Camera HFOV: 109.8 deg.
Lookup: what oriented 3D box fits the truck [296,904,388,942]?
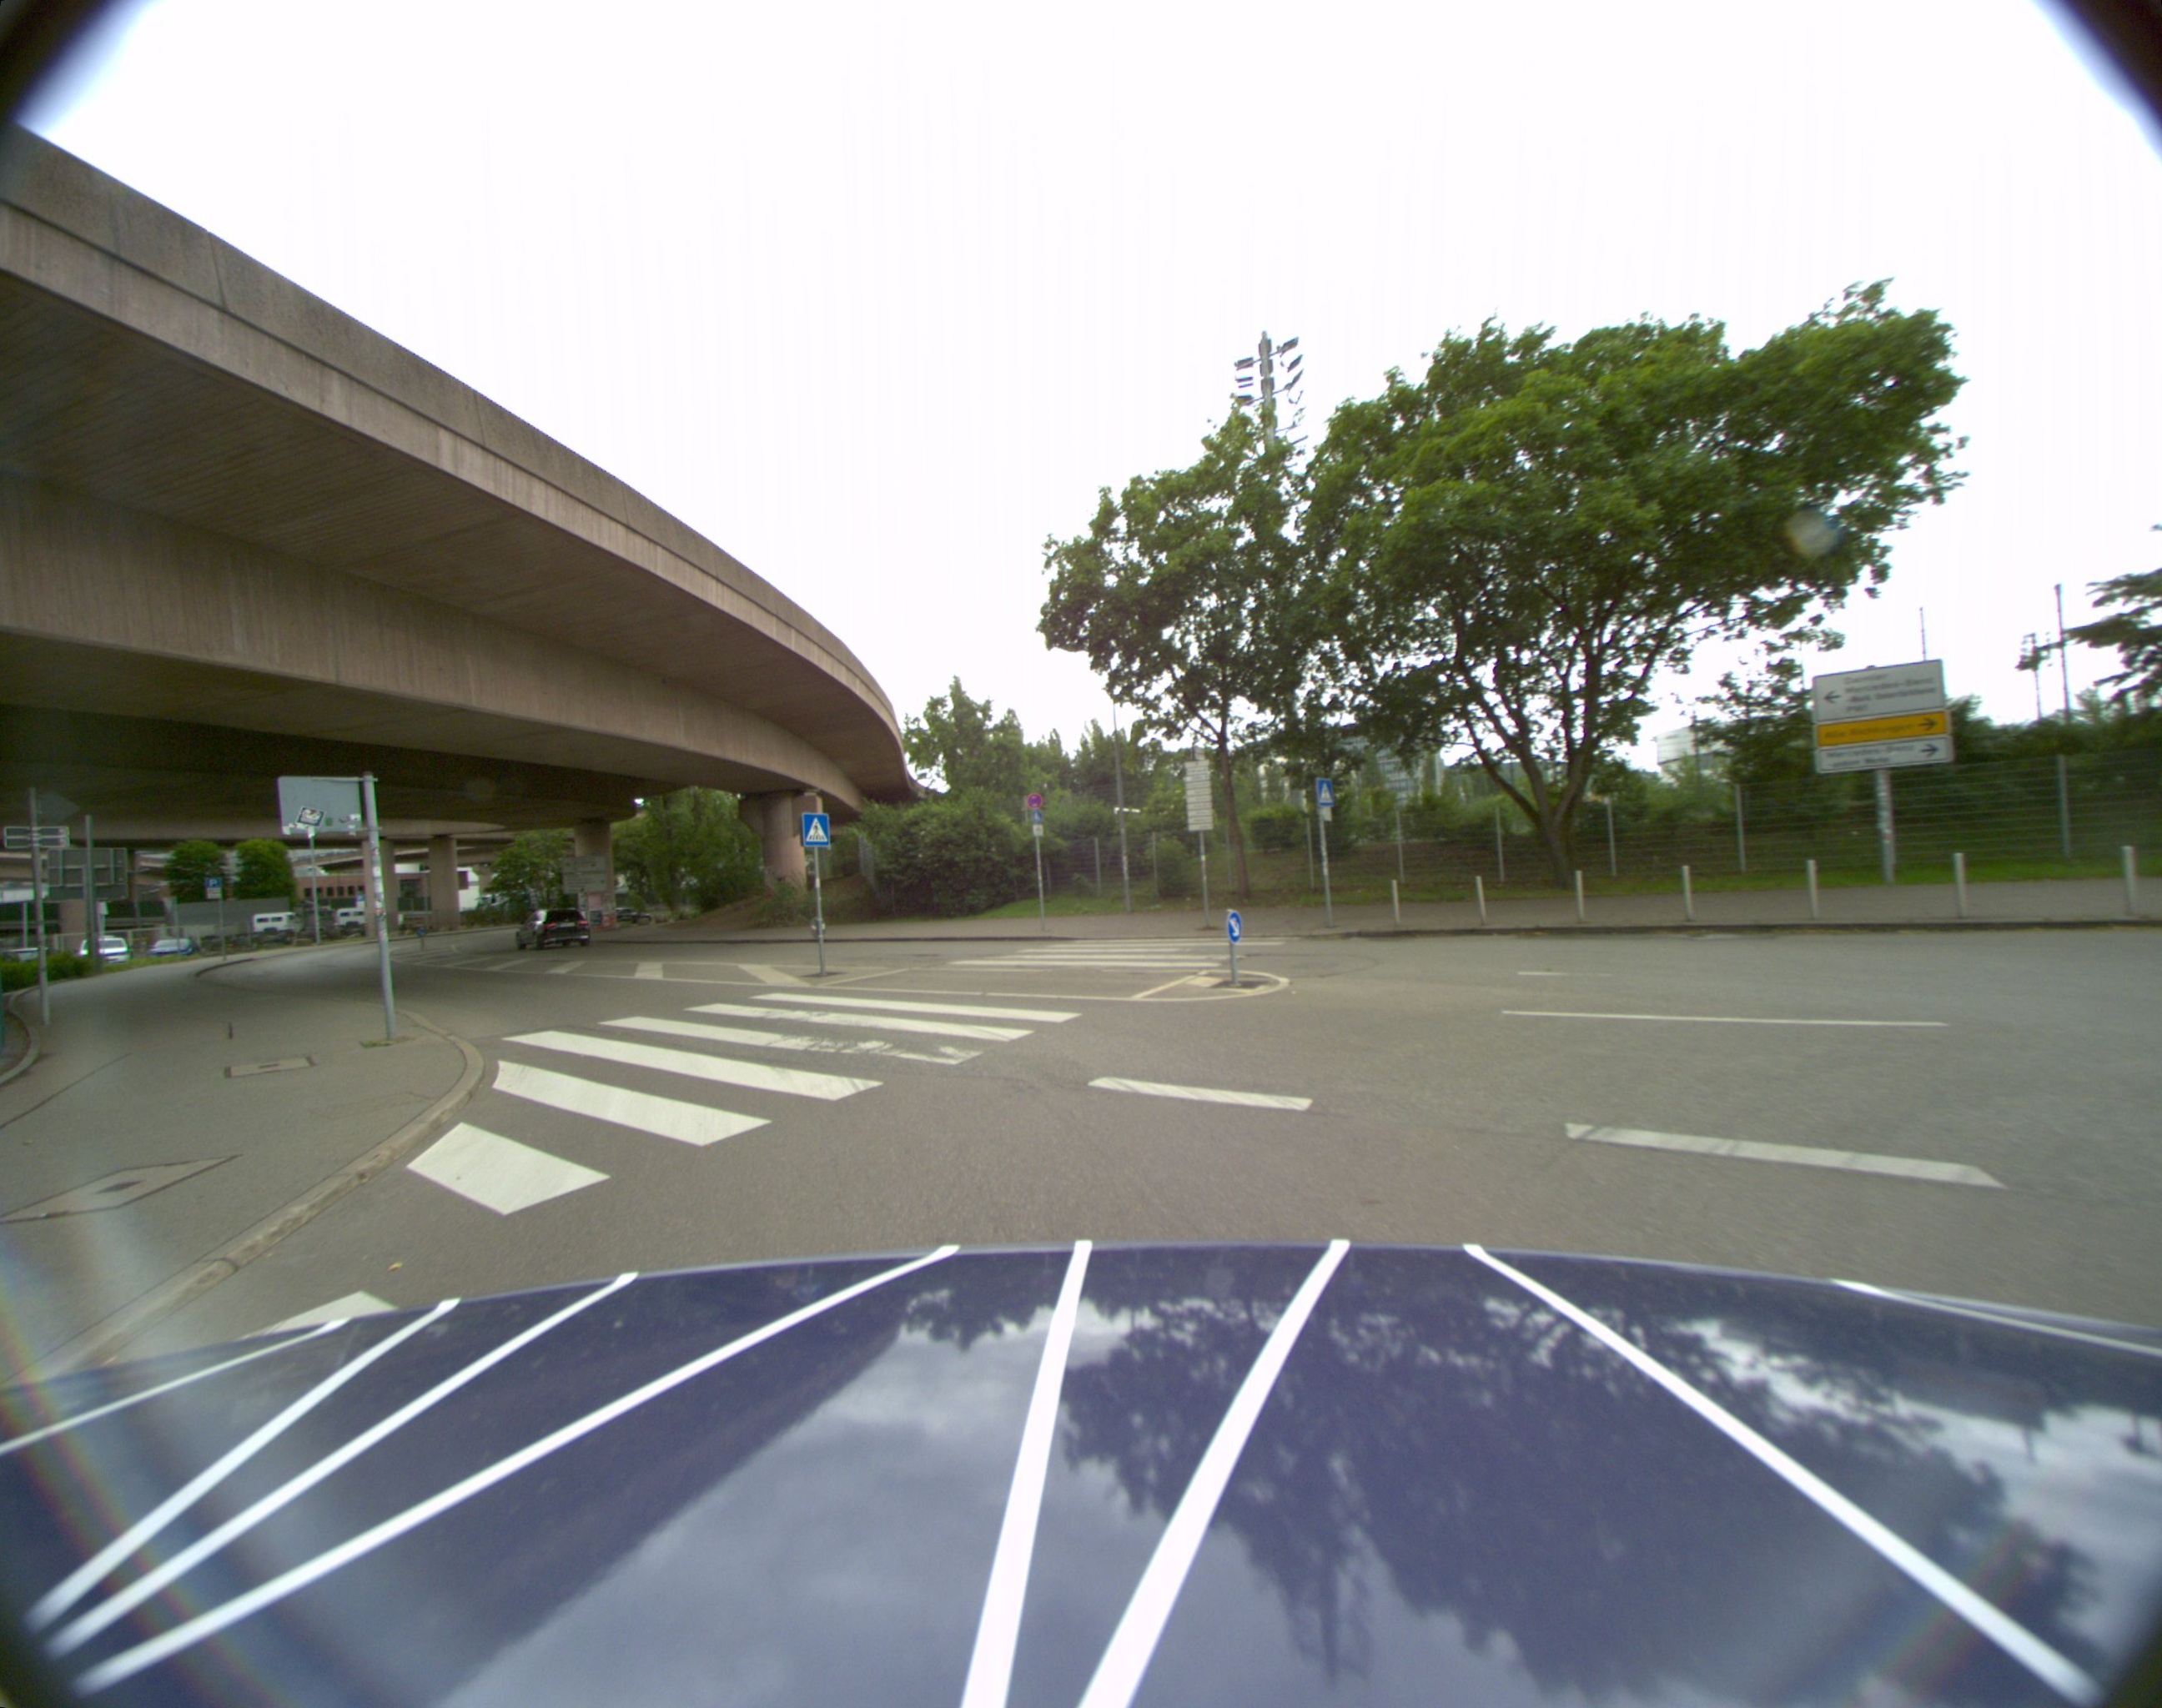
[{"bbox_3d":[-63.998,5.930,66.039,2.426,2.727,7.228,-4,-1,-16],"label":"truck"}]

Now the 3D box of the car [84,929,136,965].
[{"bbox_3d":[-61.392,5.847,48.035,4.668,1.945,1.898,-5,-2,38],"label":"car"}]

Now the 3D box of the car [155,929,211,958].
[{"bbox_3d":[-59.316,5.864,50.266,1.779,1.624,4.674,-2,-2,-43],"label":"car"}]

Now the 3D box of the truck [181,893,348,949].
[{"bbox_3d":[-77.630,6.288,72.596,3.904,4.339,10.155,-5,-2,31],"label":"truck"}]

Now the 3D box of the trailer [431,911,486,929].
[{"bbox_3d":[-61.566,6.508,75.233,1.604,1.323,4.384,-3,-1,5],"label":"trailer"}]

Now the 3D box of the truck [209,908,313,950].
[{"bbox_3d":[-67.010,6.065,62.301,2.459,2.868,6.115,-4,-1,-10],"label":"truck"}]

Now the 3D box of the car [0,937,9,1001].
[{"bbox_3d":[-26.507,2.800,17.608,3.402,1.524,1.614,-5,0,39],"label":"car"}]

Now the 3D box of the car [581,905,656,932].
[{"bbox_3d":[-33.059,4.593,54.515,1.826,1.422,4.777,-6,-1,9],"label":"car"}]

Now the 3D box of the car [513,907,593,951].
[{"bbox_3d":[-22.232,3.107,31.933,4.538,1.564,1.849,-5,-1,44],"label":"car"}]

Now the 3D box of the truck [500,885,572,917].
[{"bbox_3d":[-65.067,5.533,90.822,2.265,3.388,6.425,-3,0,35],"label":"truck"}]

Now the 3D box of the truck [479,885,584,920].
[{"bbox_3d":[-67.252,5.875,93.422,2.265,3.477,10.235,-3,-1,32],"label":"truck"}]
